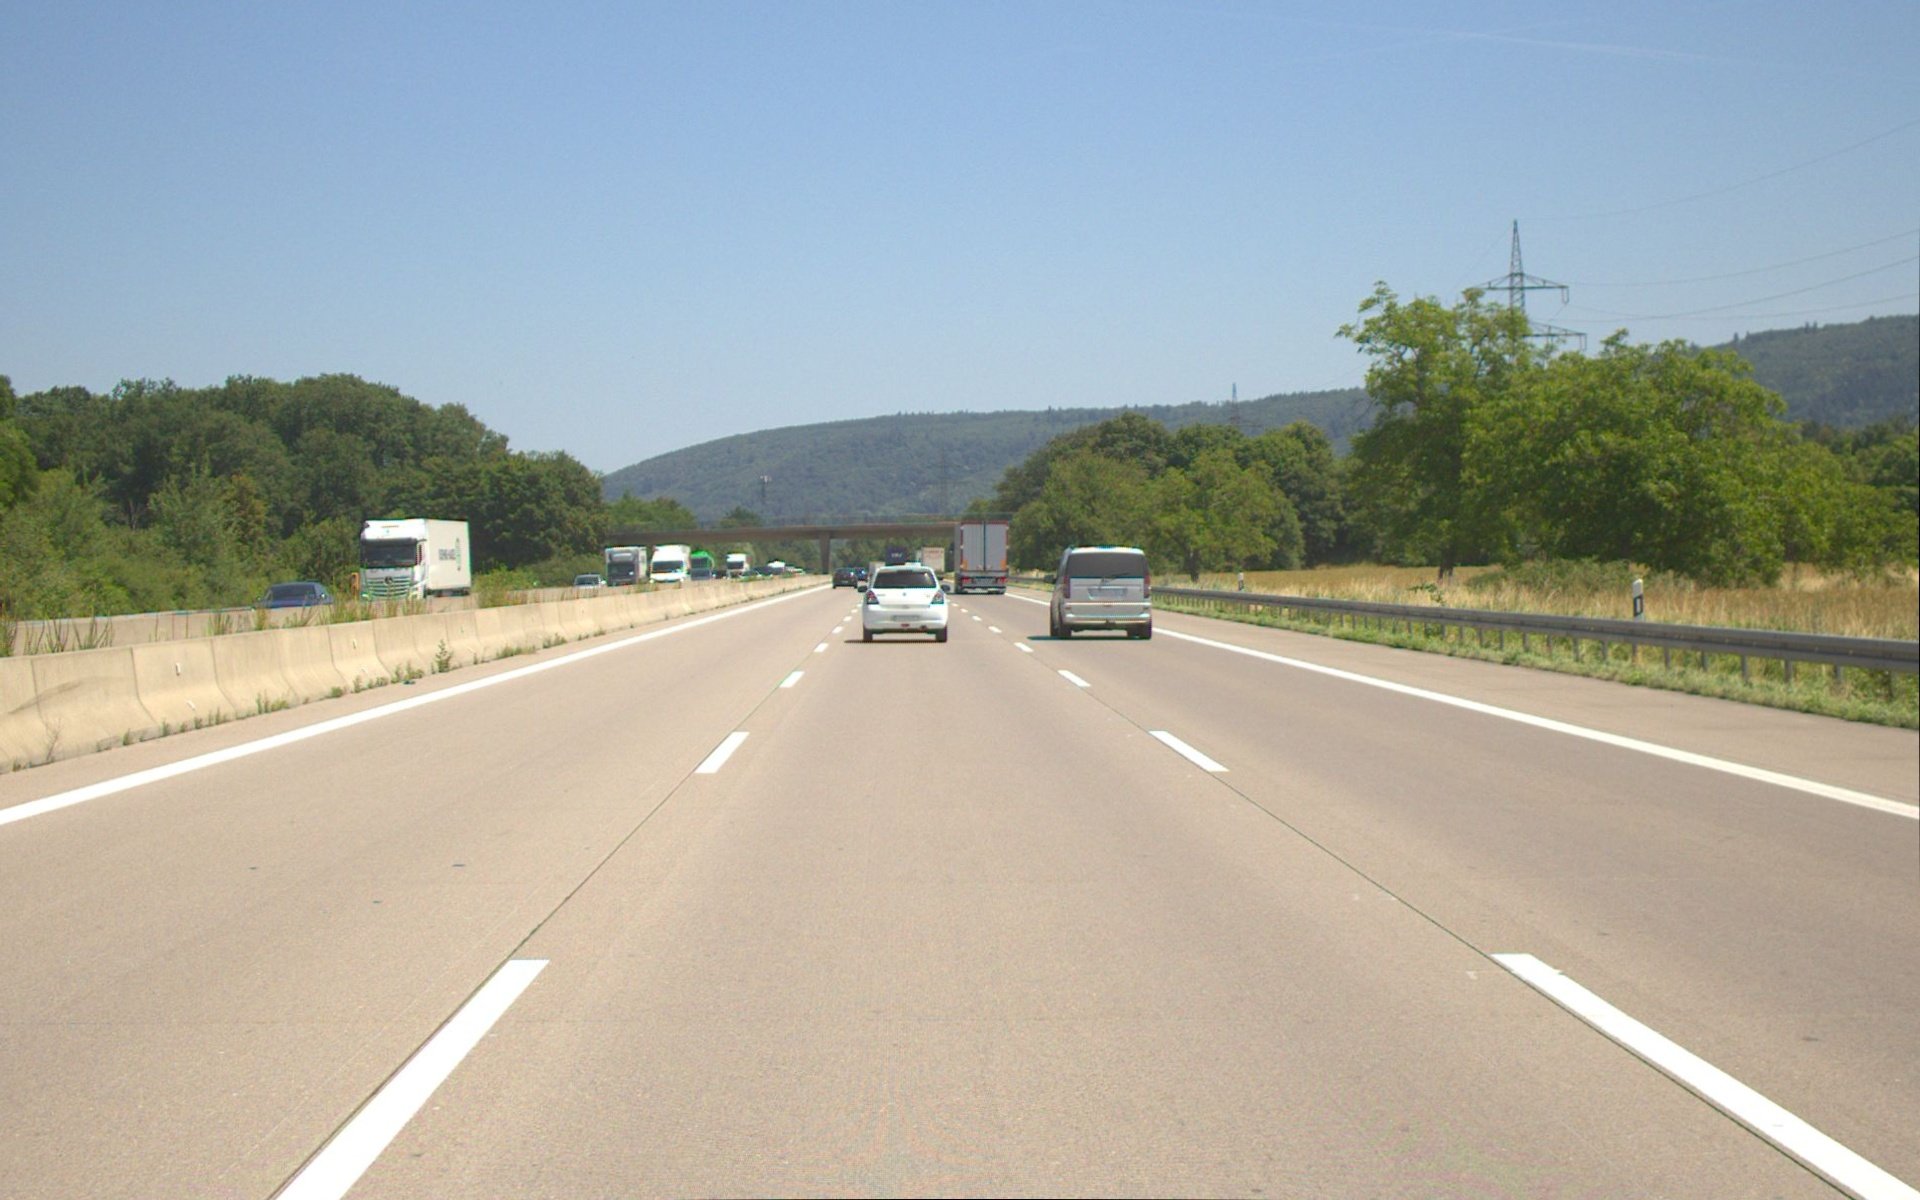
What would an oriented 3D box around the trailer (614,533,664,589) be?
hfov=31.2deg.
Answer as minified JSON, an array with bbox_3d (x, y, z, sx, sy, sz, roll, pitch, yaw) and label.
[{"bbox_3d":[-23.897,-2.932,256.046,2.953,4.091,8.484,0,1,0],"label":"trailer"}]

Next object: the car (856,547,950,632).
[{"bbox_3d":[-1.160,-0.234,69.016,1.819,1.656,4.000,0,1,-1],"label":"car"}]

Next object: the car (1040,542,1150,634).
[{"bbox_3d":[2.761,-0.273,71.251,1.993,1.842,4.000,1,1,-1],"label":"car"}]

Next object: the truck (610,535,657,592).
[{"bbox_3d":[-23.886,-2.702,251.891,2.953,4.113,5.086,0,1,0],"label":"truck"}]

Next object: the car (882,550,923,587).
[{"bbox_3d":[-2.988,-1.644,178.808,1.993,1.842,4.001,2,1,-2],"label":"car"}]

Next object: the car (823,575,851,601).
[{"bbox_3d":[-8.659,-0.859,241.922,1.928,1.787,4.000,0,1,-2],"label":"car"}]

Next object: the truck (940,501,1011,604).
[{"bbox_3d":[0.830,-2.720,197.289,3.720,5.791,7.054,0,1,-2],"label":"truck"}]

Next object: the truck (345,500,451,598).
[{"bbox_3d":[-23.188,-2.109,142.179,3.161,3.895,8.373,0,1,-1],"label":"truck"}]

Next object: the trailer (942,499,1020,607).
[{"bbox_3d":[1.116,-2.615,190.603,3.720,5.791,12.163,0,1,-2],"label":"trailer"}]
